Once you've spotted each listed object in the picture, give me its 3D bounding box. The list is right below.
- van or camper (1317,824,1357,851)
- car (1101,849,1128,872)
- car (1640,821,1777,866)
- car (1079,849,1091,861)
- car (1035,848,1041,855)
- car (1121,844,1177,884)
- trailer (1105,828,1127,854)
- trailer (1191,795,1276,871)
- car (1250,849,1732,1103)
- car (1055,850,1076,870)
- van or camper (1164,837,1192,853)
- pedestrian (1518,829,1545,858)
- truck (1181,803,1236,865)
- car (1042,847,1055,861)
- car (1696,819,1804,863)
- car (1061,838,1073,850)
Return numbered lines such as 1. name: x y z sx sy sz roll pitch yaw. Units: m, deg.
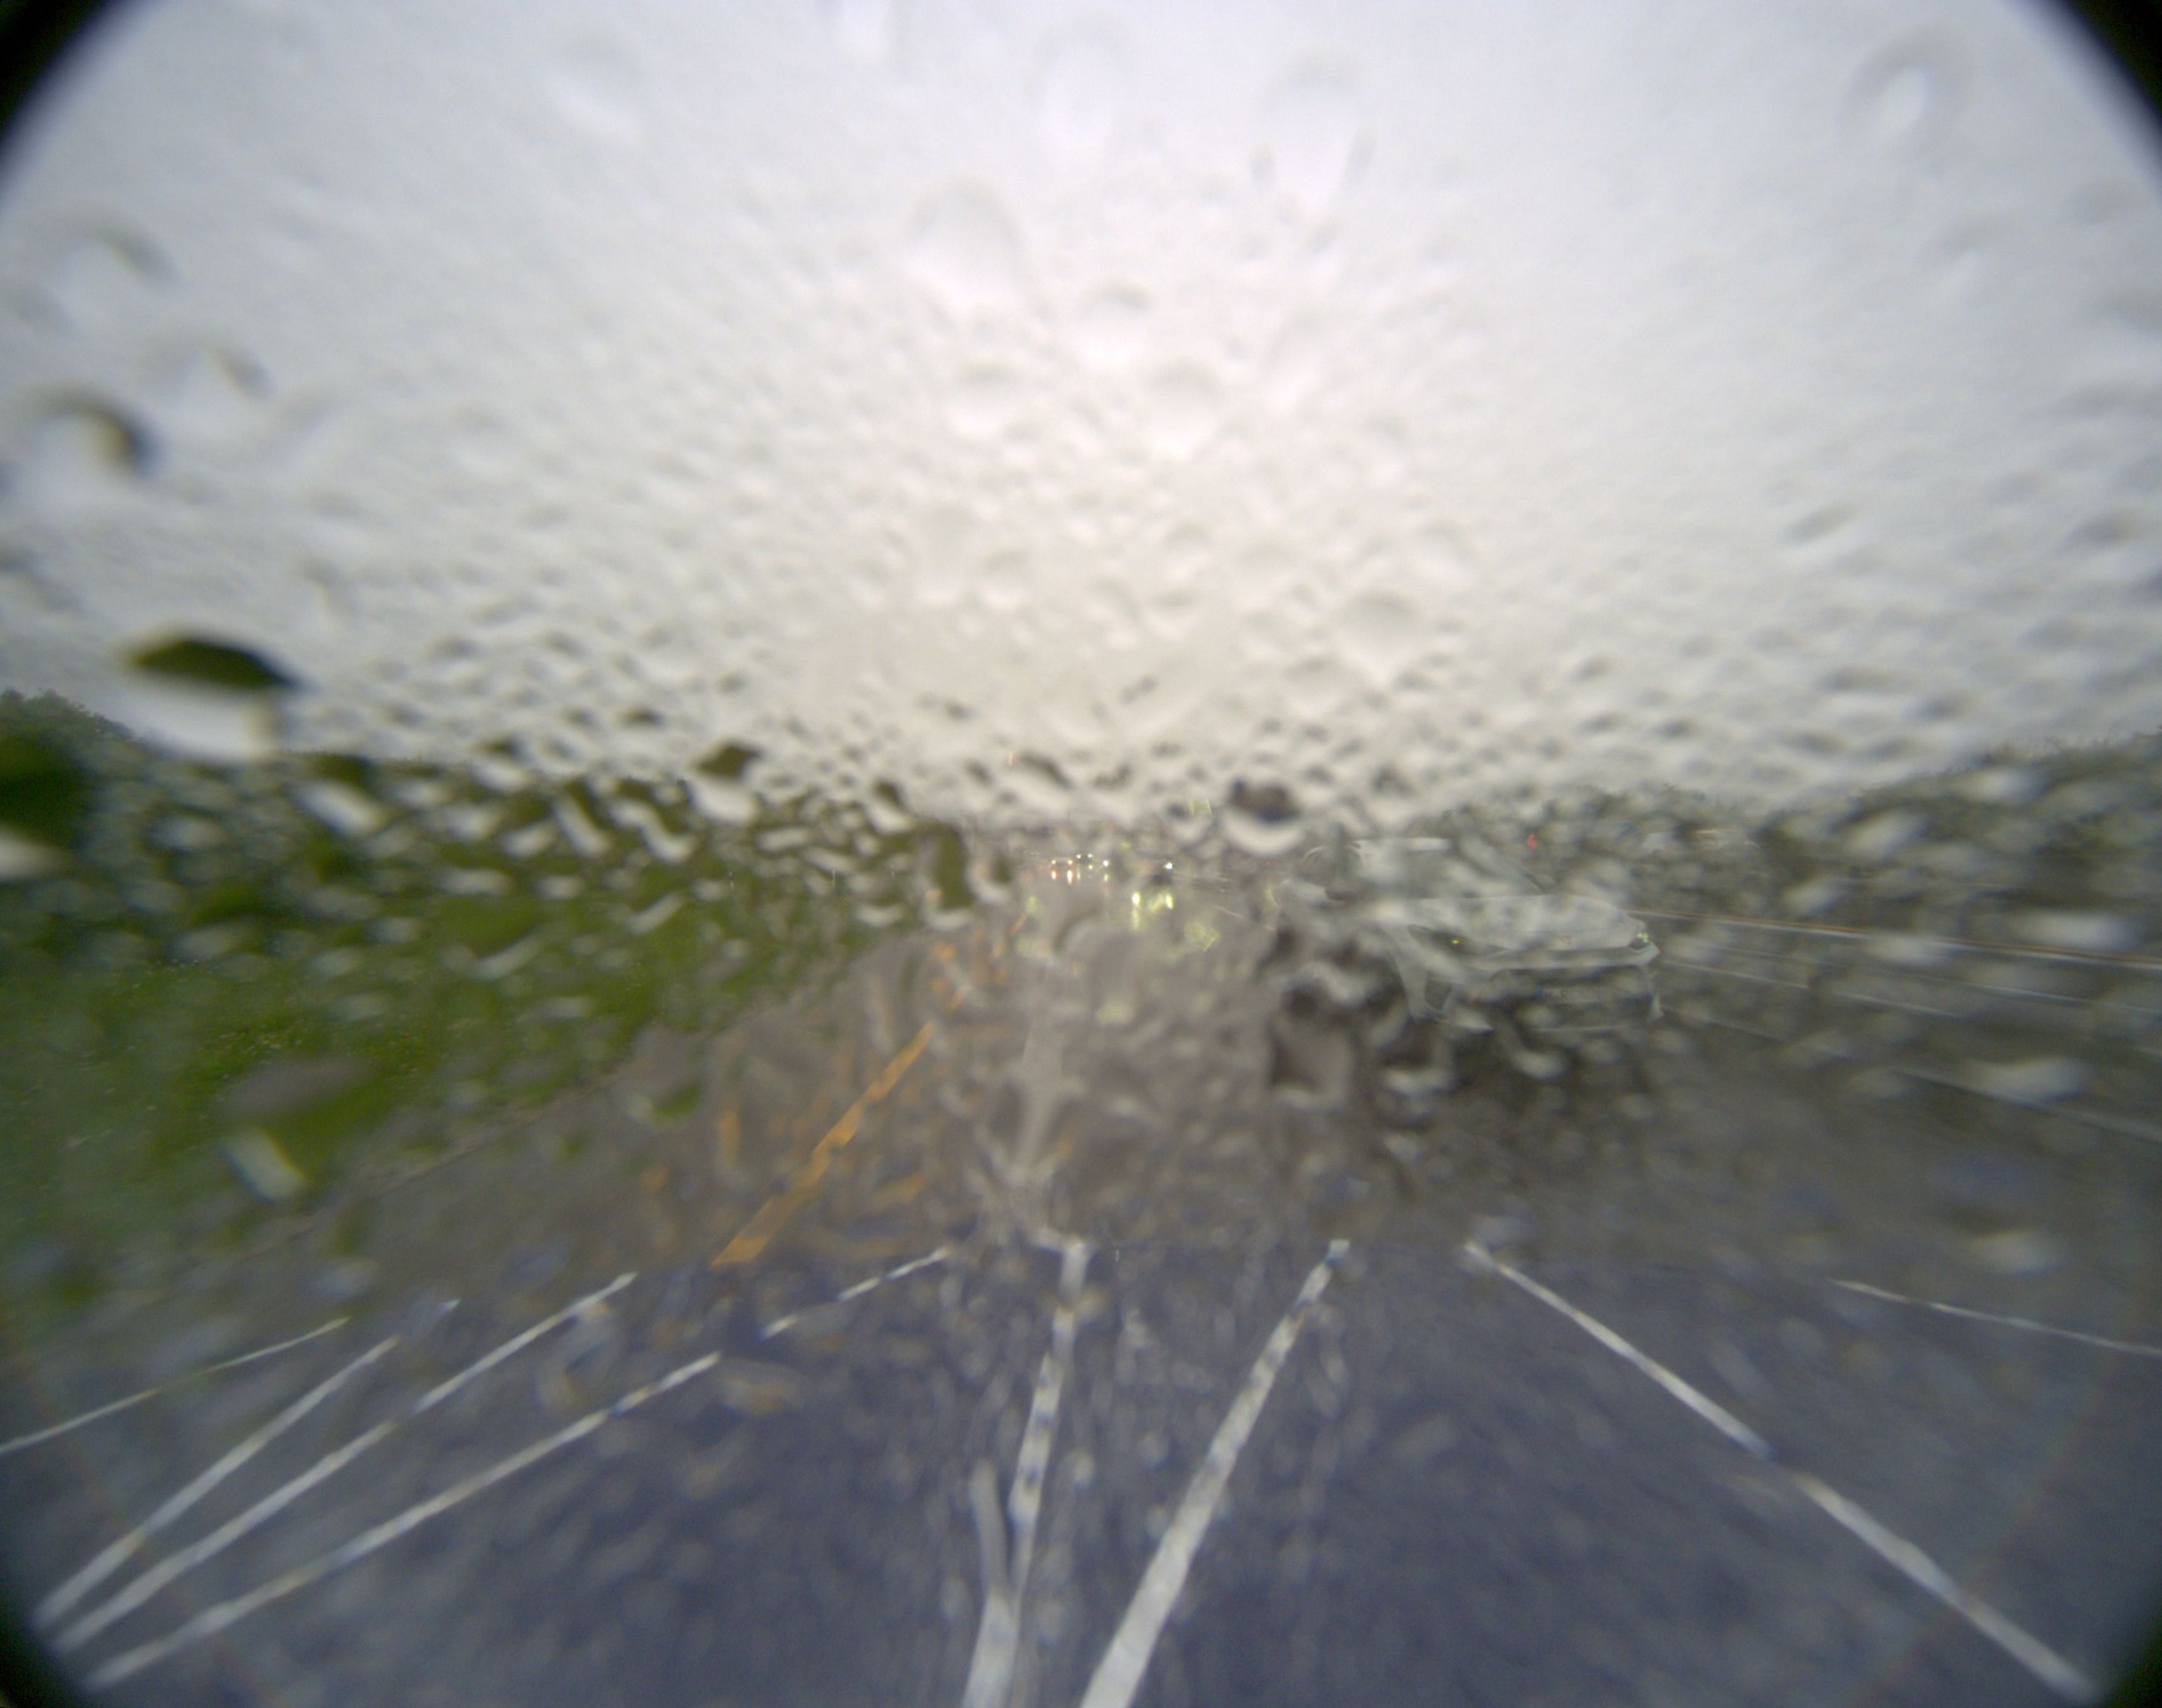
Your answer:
1. van or camper: 43.397 -2.775 129.029 3.376 4.299 8.503 -3 1 -2
2. car: 2.441 0.436 55.951 1.792 1.481 3.999 -3 1 1
3. car: 30.020 -0.499 36.653 2.099 1.955 5.363 -2 1 -1
4. car: 0.517 0.139 100.676 1.590 1.528 3.830 -1 1 -1
5. car: -12.094 -0.697 212.678 1.673 1.804 3.999 -1 1 -2
6. car: 2.973 0.410 34.342 2.069 1.618 5.195 -2 1 1
7. trailer: 5.676 -2.155 125.361 2.619 3.984 11.923 -3 1 -2
8. trailer: 9.242 -1.238 47.786 2.606 4.054 12.428 -2 1 -1
9. car: 3.156 0.759 7.312 1.932 1.542 5.006 -1 1 0
10. car: -1.459 0.558 70.116 1.881 1.772 3.999 -1 1 -2
11. van or camper: 21.057 -1.918 164.802 5.422 3.326 3.376 -3 1 -4
12. pedestrian: 31.835 -0.756 53.710 1.108 2.002 1.125 -3 1 -4
13. truck: 9.095 -1.364 54.919 2.630 4.058 6.668 -2 0 -1
14. car: -4.483 0.003 105.227 1.674 1.804 3.998 -1 1 -4
15. car: 34.719 -0.682 39.677 2.365 2.064 5.585 -1 1 20
16. car: -4.407 -3.082 233.598 3.306 3.718 9.397 -3 1 -2
